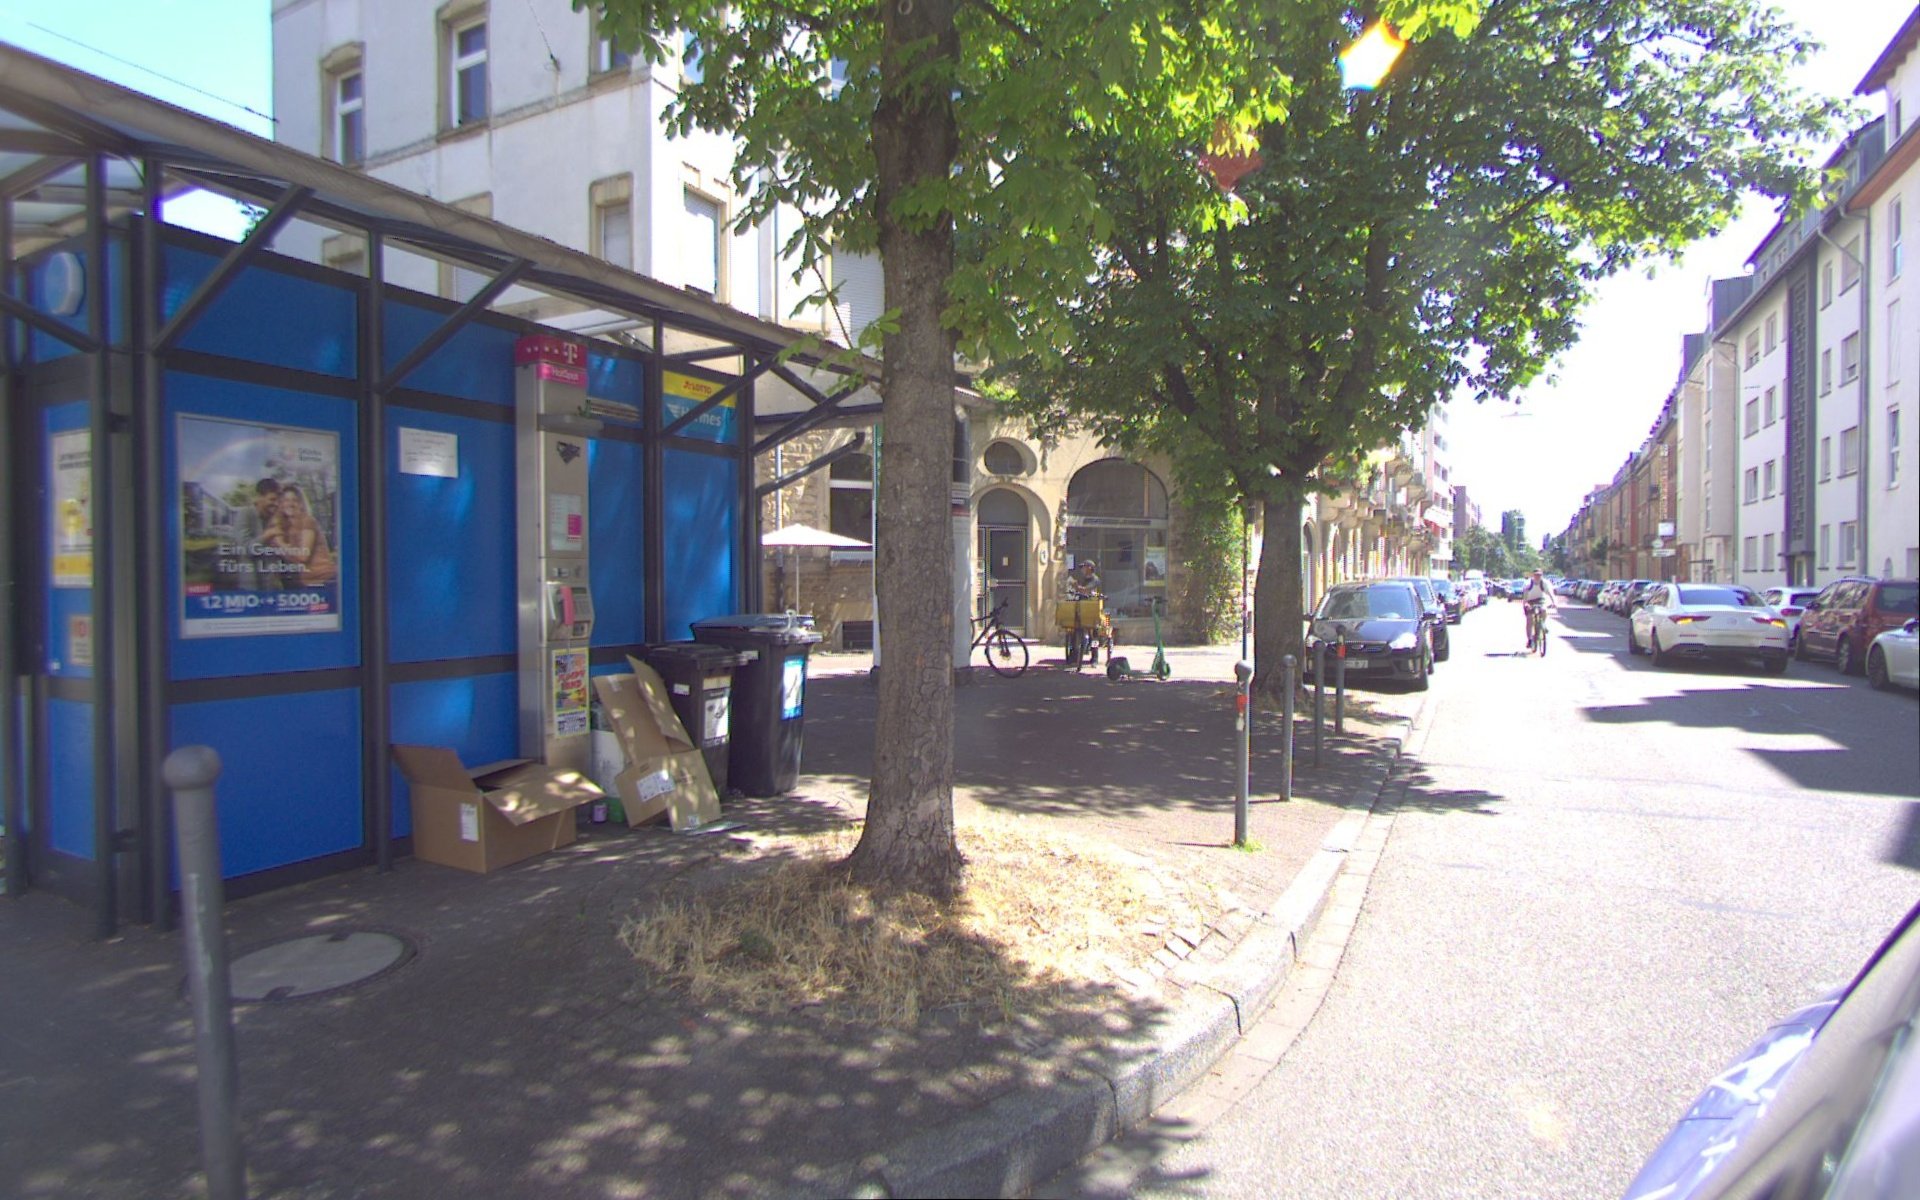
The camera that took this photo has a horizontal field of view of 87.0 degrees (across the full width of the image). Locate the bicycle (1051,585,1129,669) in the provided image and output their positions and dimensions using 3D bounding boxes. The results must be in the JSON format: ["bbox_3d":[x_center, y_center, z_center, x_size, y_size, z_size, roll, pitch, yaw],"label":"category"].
[{"bbox_3d":[2.135,0.377,16.316,0.786,1.183,2.564,1,2,18],"label":"bicycle"}]

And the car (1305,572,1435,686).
[{"bbox_3d":[6.587,0.368,16.022,1.651,1.560,4.142,-2,1,25],"label":"car"}]

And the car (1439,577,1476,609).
[{"bbox_3d":[24.988,-0.364,50.818,1.579,1.470,3.821,-2,1,27],"label":"car"}]

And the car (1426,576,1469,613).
[{"bbox_3d":[20.085,-0.248,41.649,1.502,1.416,3.937,-2,1,26],"label":"car"}]

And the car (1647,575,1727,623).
[{"bbox_3d":[26.328,-0.107,36.799,1.647,1.537,4.627,3,3,28],"label":"car"}]

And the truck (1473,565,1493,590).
[{"bbox_3d":[59.690,-2.585,115.535,1.854,2.764,4.462,1,2,29],"label":"truck"}]

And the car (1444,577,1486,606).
[{"bbox_3d":[27.690,-0.469,55.454,1.708,1.470,4.547,-1,1,31],"label":"car"}]

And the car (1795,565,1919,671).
[{"bbox_3d":[15.903,0.250,17.213,1.662,1.602,4.016,3,3,26],"label":"car"}]

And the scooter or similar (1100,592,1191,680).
[{"bbox_3d":[2.547,0.476,13.888,1.161,1.150,0.444,0,2,-25],"label":"scooter or similar"}]

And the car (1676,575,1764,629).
[{"bbox_3d":[23.876,0.013,31.912,1.558,1.510,3.857,3,3,28],"label":"car"}]

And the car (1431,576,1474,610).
[{"bbox_3d":[22.466,-0.345,46.135,1.561,1.470,3.805,-2,1,28],"label":"car"}]

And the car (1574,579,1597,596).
[{"bbox_3d":[55.245,-1.125,89.391,1.439,1.415,3.490,6,4,29],"label":"car"}]

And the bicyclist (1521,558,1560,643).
[{"bbox_3d":[11.602,-0.004,20.235,0.640,1.670,0.616,1,2,30],"label":"bicyclist"}]

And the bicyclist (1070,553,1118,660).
[{"bbox_3d":[2.140,0.089,16.133,0.670,1.668,0.659,1,1,15],"label":"bicyclist"}]

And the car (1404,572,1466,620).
[{"bbox_3d":[17.087,-0.181,36.312,1.821,1.586,4.562,-2,1,27],"label":"car"}]

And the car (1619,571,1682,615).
[{"bbox_3d":[28.346,-0.335,41.634,1.594,1.664,3.939,3,3,28],"label":"car"}]

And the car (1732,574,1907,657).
[{"bbox_3d":[18.077,0.239,21.527,1.765,1.477,4.241,3,3,26],"label":"car"}]

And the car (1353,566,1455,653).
[{"bbox_3d":[9.316,0.148,21.107,1.723,1.617,4.310,-2,1,26],"label":"car"}]

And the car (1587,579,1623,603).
[{"bbox_3d":[42.802,-0.614,67.227,1.769,1.446,3.796,6,4,30],"label":"car"}]

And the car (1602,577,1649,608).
[{"bbox_3d":[37.975,-0.484,57.814,1.618,1.567,3.820,5,4,25],"label":"car"}]

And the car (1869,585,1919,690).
[{"bbox_3d":[13.338,0.575,12.639,1.690,1.369,4.476,3,3,26],"label":"car"}]

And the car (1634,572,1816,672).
[{"bbox_3d":[13.424,0.276,18.049,1.831,1.478,4.321,3,3,28],"label":"car"}]

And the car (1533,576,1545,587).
[{"bbox_3d":[108.355,-3.470,189.395,1.773,2.038,3.955,1,2,32],"label":"car"}]

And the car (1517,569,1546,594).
[{"bbox_3d":[39.659,-1.315,70.271,1.611,1.630,3.562,1,2,29],"label":"car"}]

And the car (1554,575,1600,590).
[{"bbox_3d":[63.253,-1.818,103.871,3.968,1.448,1.660,2,2,31],"label":"car"}]

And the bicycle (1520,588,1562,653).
[{"bbox_3d":[11.554,0.370,20.144,0.666,1.190,2.073,1,2,29],"label":"bicycle"}]

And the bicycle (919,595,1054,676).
[{"bbox_3d":[0.370,0.482,14.664,1.890,1.052,0.627,2,2,30],"label":"bicycle"}]

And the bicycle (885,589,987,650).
[{"bbox_3d":[-0.423,0.331,18.434,1.800,1.052,0.550,0,2,-29],"label":"bicycle"}]
